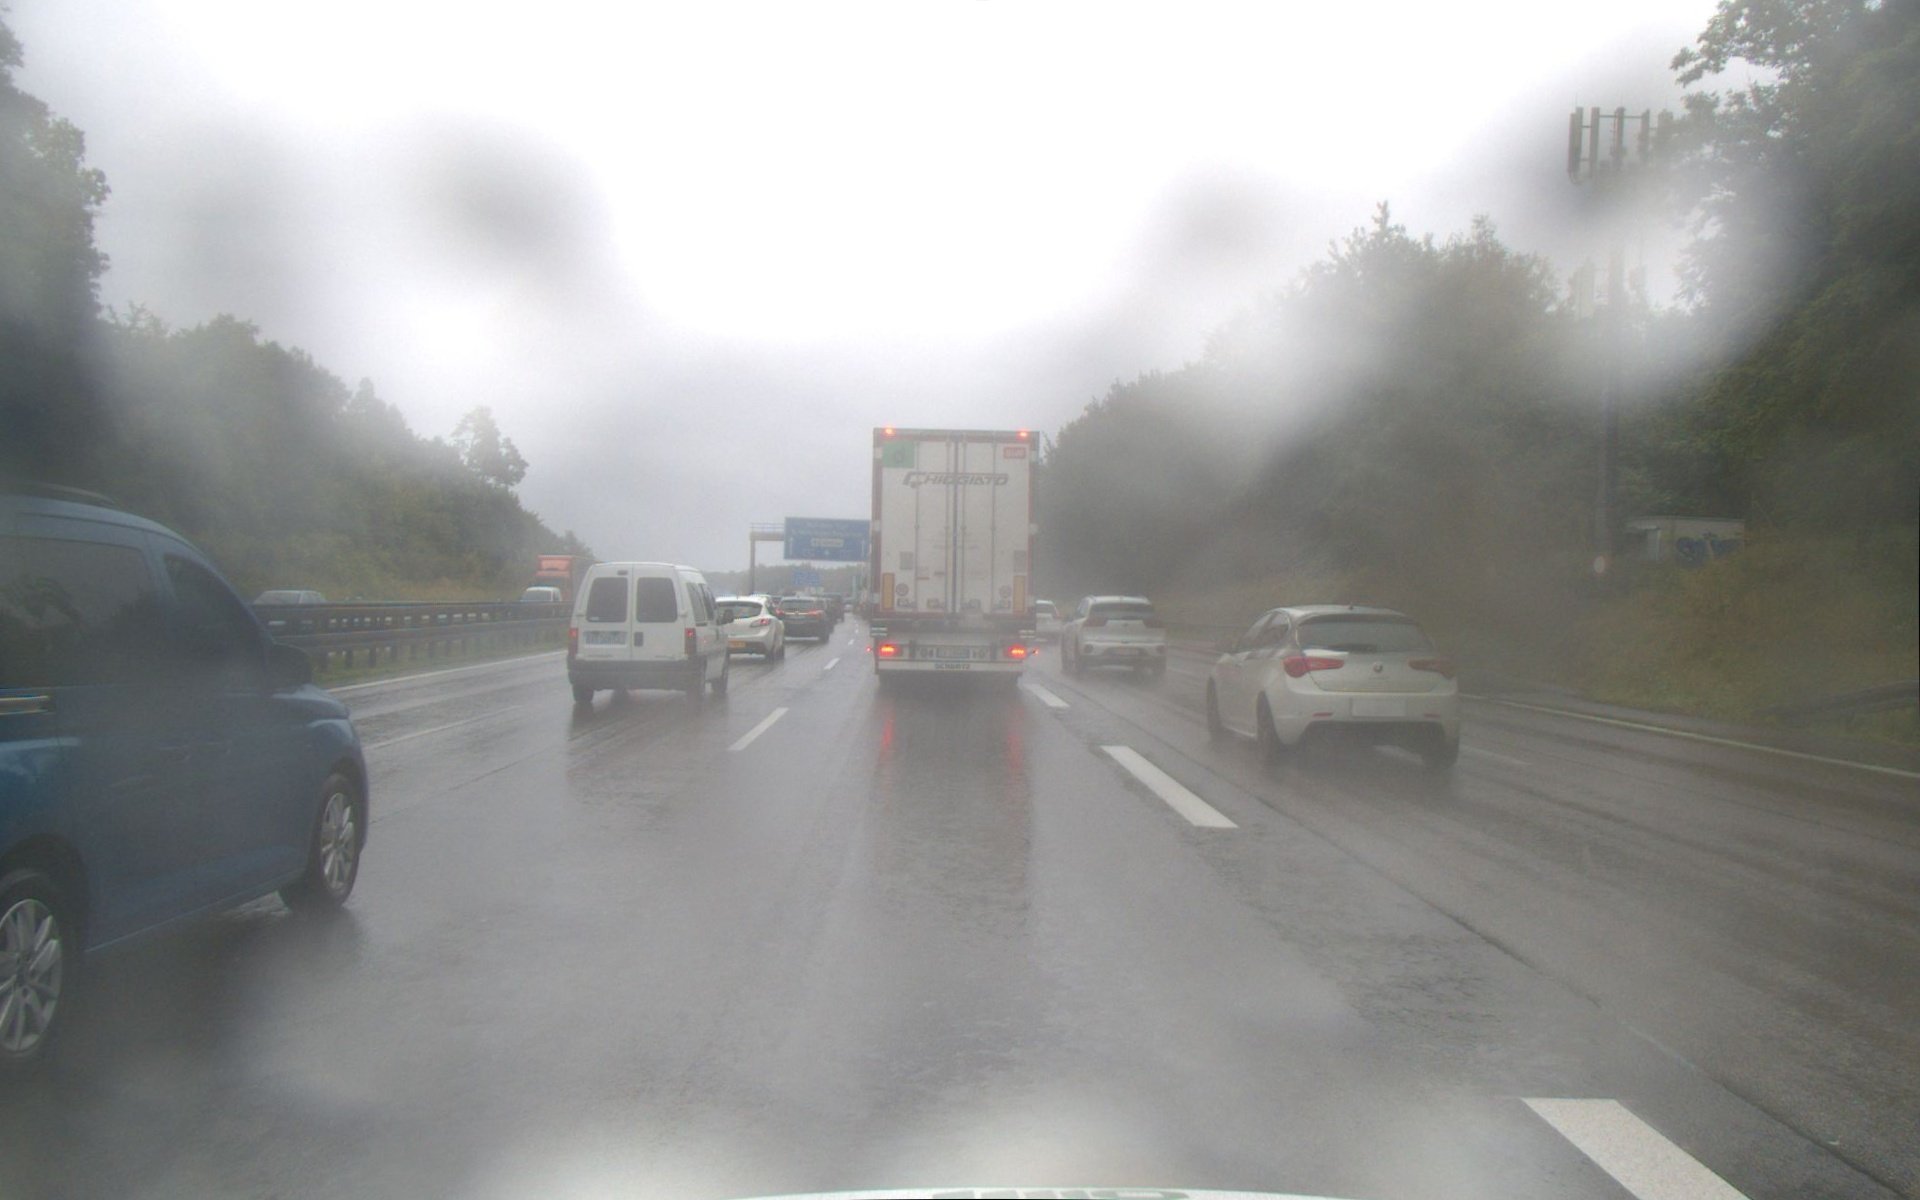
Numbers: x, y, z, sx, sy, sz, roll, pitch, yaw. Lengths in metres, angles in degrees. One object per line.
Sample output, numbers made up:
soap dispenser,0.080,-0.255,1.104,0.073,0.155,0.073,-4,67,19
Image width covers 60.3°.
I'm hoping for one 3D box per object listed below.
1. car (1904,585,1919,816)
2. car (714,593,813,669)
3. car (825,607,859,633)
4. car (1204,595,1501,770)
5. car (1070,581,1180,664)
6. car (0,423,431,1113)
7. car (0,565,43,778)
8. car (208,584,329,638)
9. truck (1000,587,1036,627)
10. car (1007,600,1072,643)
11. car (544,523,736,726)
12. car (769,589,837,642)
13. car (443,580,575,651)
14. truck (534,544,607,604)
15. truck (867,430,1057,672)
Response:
car,7.661,0.728,9.337,1.949,1.611,4.767,1,0,0
car,-4.506,0.675,38.477,1.808,1.619,4.071,1,0,0
car,-6.551,1.107,92.158,1.809,1.354,4.463,1,0,-4
car,3.688,0.701,16.374,1.851,1.450,4.482,1,0,0
car,3.298,0.416,33.847,1.808,1.549,4.343,1,0,0
car,-3.799,0.453,5.766,2.223,1.945,5.016,1,0,1
car,-8.162,0.539,10.837,1.808,1.619,4.466,1,0,0
car,-20.680,0.285,49.669,1.799,1.523,4.607,1,0,-2
truck,4.461,0.521,128.952,2.536,2.992,6.455,1,0,0
car,2.752,0.734,58.354,1.966,1.418,4.567,1,0,-1
car,-4.505,0.306,24.072,2.169,2.618,5.010,1,0,-5
car,-5.114,0.472,54.378,1.808,1.619,4.466,1,0,0
car,-11.425,0.346,42.250,2.048,1.530,4.753,5,0,-1
truck,-27.291,-1.794,116.363,2.648,4.000,10.027,0,0,0
truck,-0.075,-0.709,30.626,2.814,3.624,11.299,1,0,-1
